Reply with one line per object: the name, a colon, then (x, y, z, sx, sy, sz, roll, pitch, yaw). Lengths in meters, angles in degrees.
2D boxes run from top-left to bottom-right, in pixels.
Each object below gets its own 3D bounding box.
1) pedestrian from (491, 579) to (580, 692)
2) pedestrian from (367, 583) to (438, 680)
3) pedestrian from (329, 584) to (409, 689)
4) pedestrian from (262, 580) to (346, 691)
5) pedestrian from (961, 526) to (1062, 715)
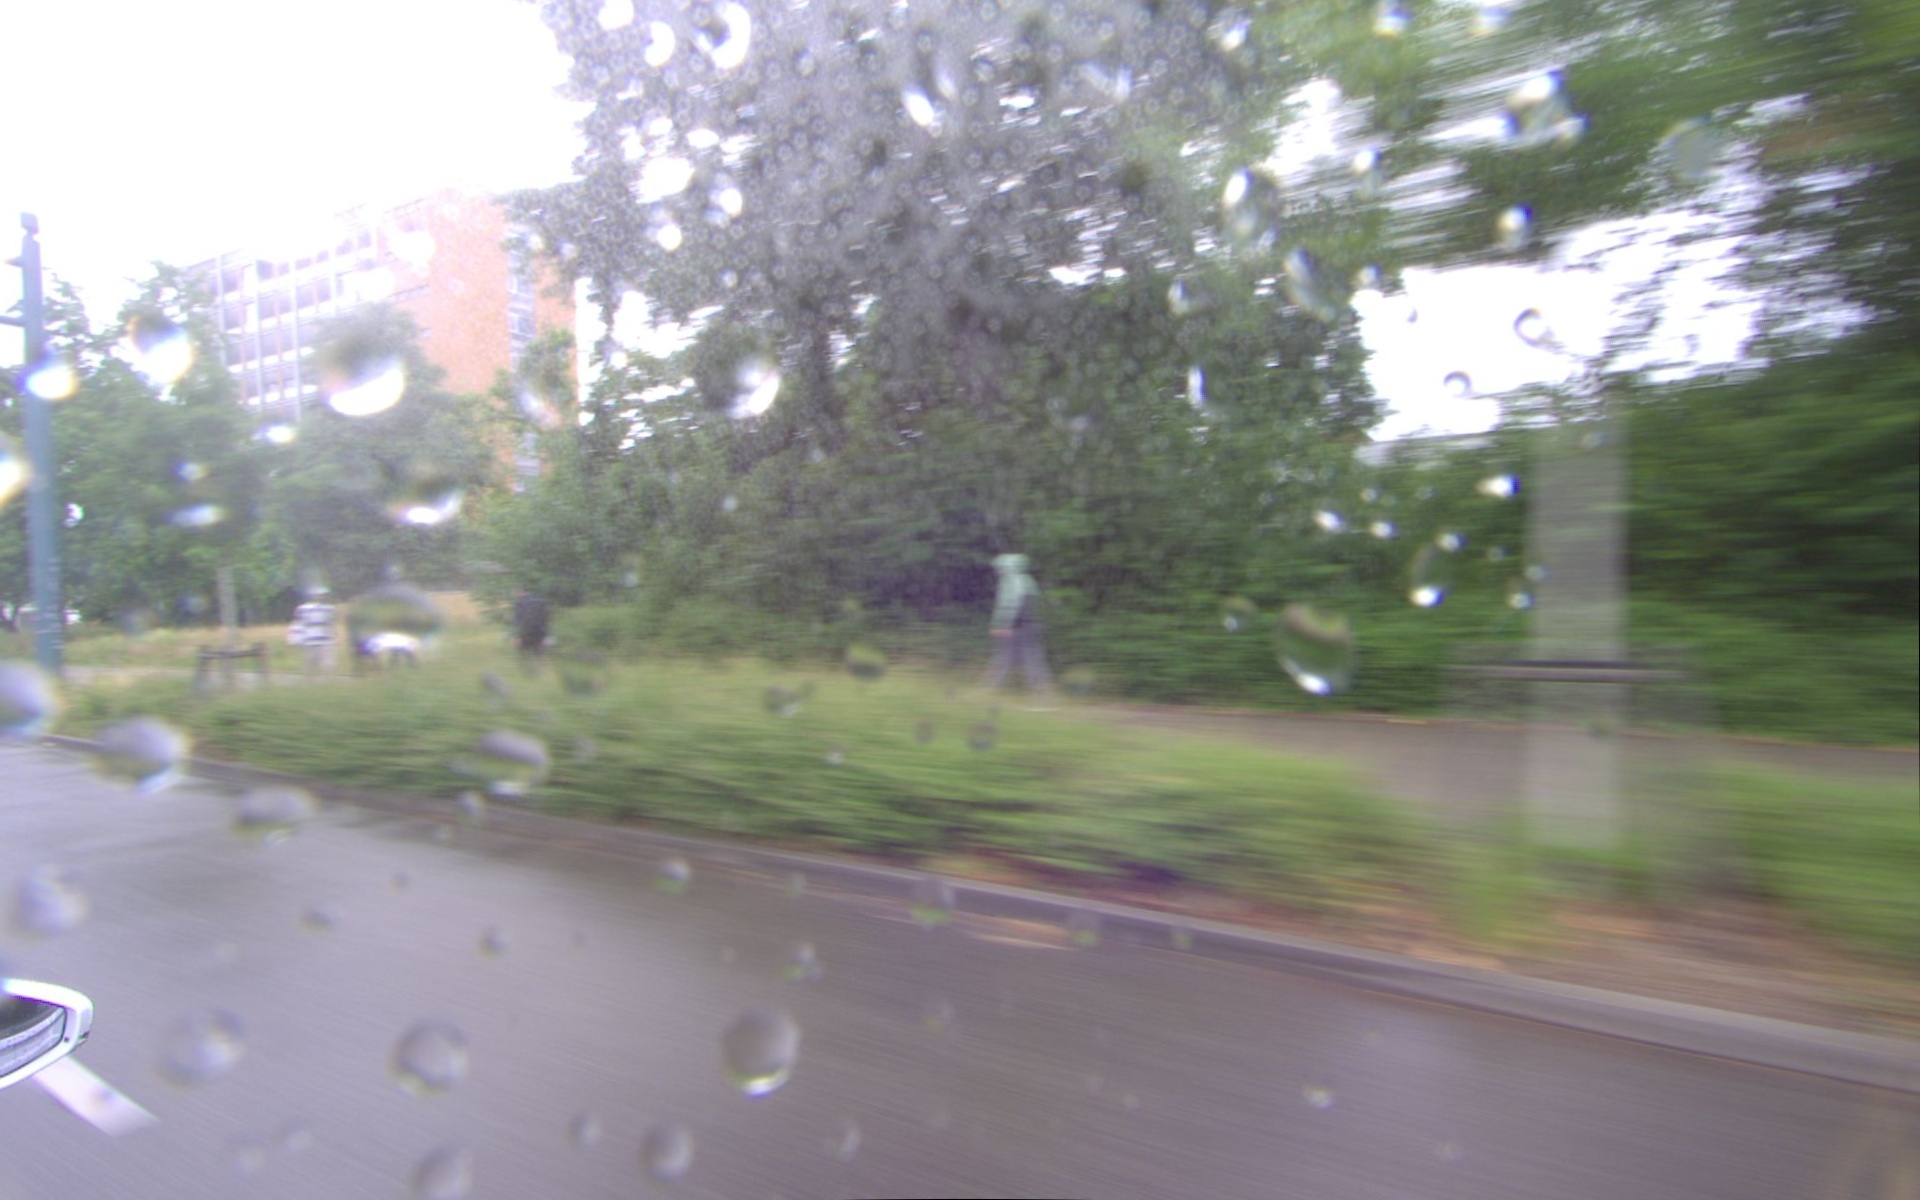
pedestrian: (-6.959, 0.561, 16.428, 1.033, 1.771, 0.929, 0, 2, 39)
pedestrian: (-10.829, 0.583, 19.459, 0.819, 1.821, 0.929, 0, 2, 39)
pedestrian: (-10.183, 0.603, 17.257, 0.818, 1.727, 0.930, 3, 2, 37)
pedestrian: (-10.820, 0.567, 16.527, 0.818, 1.744, 0.930, 3, 2, 37)
pedestrian: (0.588, 0.220, 11.403, 0.819, 2.041, 0.787, 0, 2, 39)
